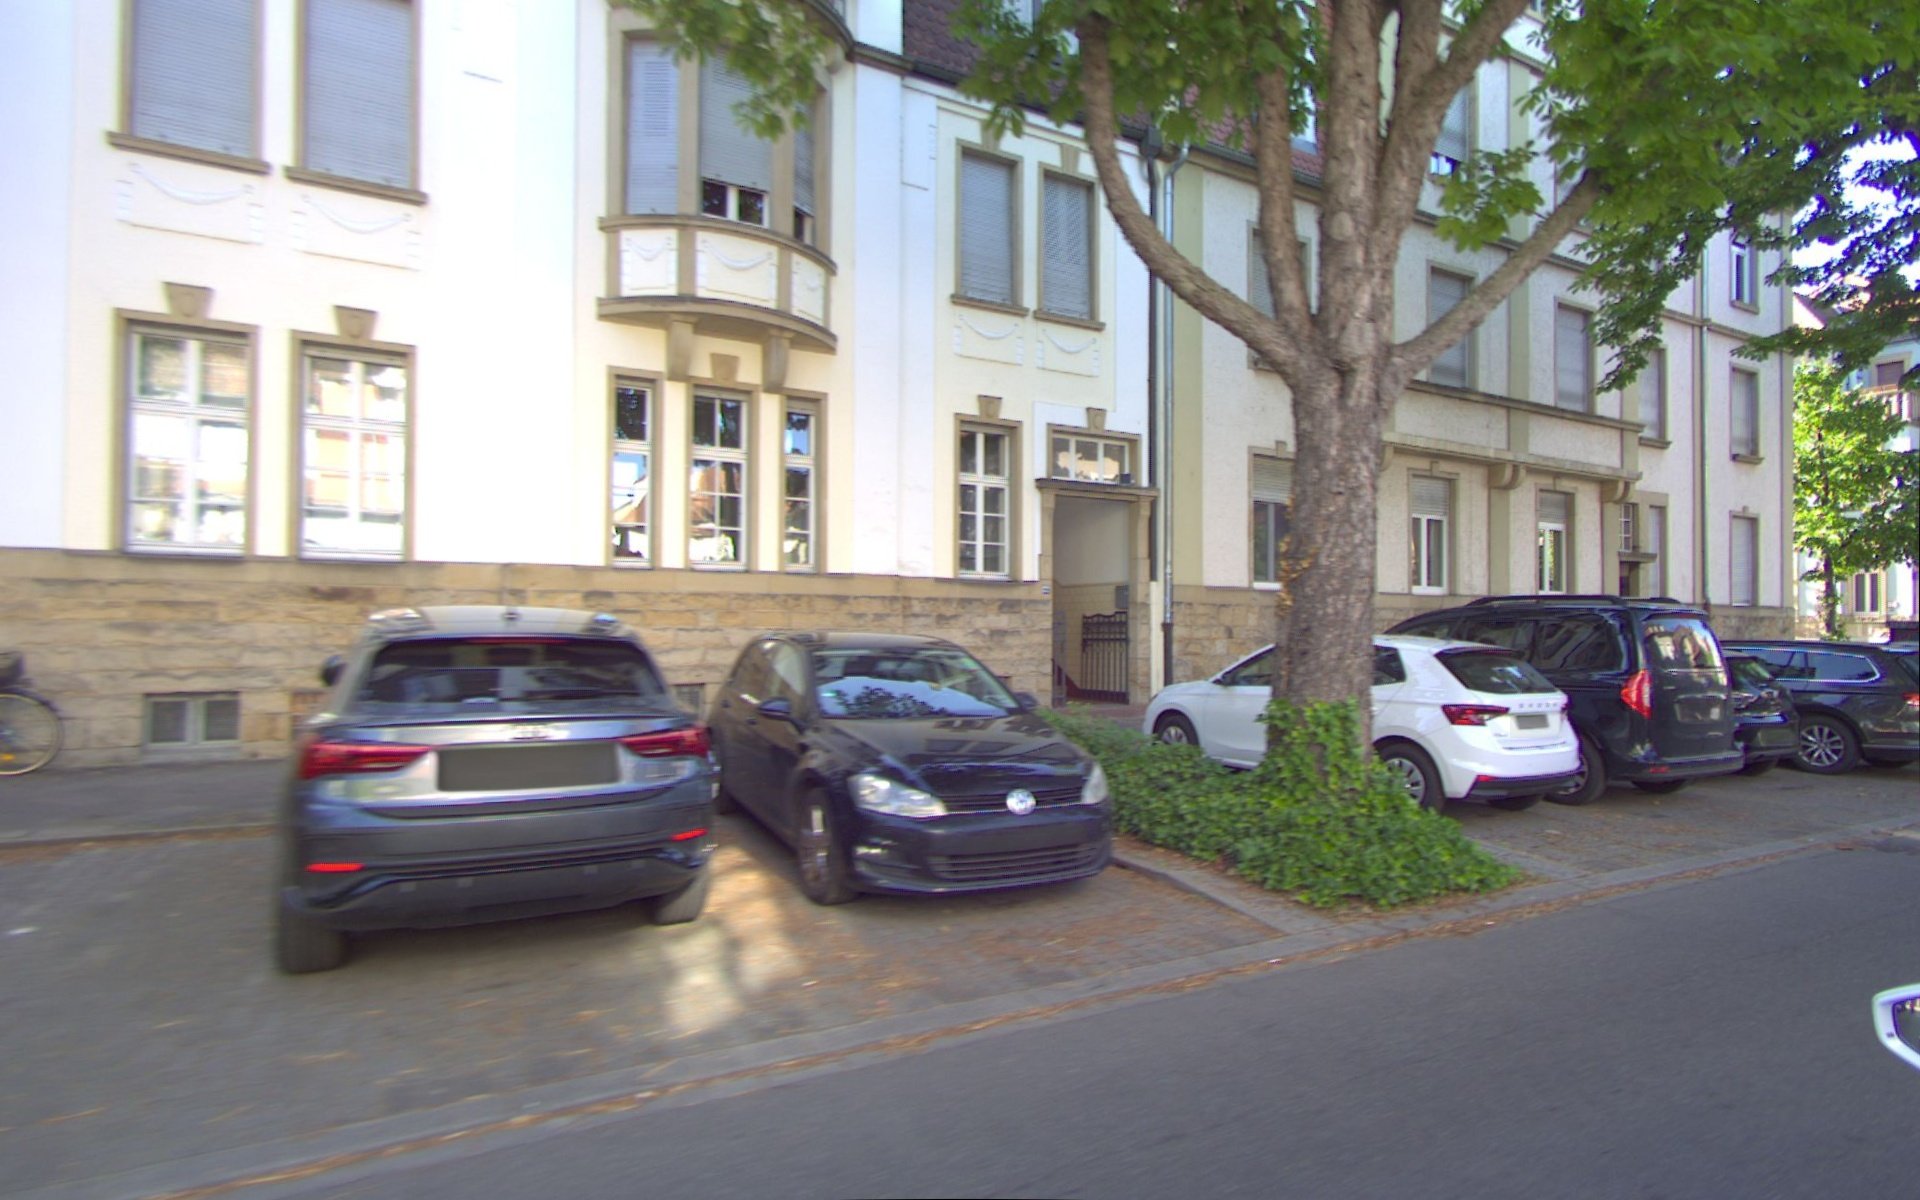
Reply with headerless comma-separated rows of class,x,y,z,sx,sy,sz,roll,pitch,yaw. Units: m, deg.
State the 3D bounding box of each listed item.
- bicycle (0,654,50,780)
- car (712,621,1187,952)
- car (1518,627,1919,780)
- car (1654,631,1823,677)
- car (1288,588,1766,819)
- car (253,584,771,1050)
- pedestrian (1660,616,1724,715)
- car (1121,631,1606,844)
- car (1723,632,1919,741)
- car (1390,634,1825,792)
bicycle,-8.149,0.907,7.797,1.479,0.944,0.623,2,0,-30
car,-0.401,0.919,6.811,1.833,1.465,3.892,1,-1,-24
car,9.751,1.142,12.609,1.869,1.523,4.511,2,-1,-30
car,27.224,1.860,35.282,1.779,1.484,4.389,2,-2,-27
car,5.569,0.891,10.387,1.807,1.880,3.961,2,-1,-30
car,-2.601,0.774,5.681,1.837,1.613,3.969,1,-1,-29
pedestrian,12.854,1.130,17.636,0.822,1.681,0.629,1,-1,-29
car,3.476,1.062,9.376,1.723,1.467,3.965,2,-2,-32
car,14.007,1.273,15.157,1.621,1.507,3.659,2,-1,-29
car,7.378,1.176,11.858,1.808,1.456,3.960,2,-2,-31
